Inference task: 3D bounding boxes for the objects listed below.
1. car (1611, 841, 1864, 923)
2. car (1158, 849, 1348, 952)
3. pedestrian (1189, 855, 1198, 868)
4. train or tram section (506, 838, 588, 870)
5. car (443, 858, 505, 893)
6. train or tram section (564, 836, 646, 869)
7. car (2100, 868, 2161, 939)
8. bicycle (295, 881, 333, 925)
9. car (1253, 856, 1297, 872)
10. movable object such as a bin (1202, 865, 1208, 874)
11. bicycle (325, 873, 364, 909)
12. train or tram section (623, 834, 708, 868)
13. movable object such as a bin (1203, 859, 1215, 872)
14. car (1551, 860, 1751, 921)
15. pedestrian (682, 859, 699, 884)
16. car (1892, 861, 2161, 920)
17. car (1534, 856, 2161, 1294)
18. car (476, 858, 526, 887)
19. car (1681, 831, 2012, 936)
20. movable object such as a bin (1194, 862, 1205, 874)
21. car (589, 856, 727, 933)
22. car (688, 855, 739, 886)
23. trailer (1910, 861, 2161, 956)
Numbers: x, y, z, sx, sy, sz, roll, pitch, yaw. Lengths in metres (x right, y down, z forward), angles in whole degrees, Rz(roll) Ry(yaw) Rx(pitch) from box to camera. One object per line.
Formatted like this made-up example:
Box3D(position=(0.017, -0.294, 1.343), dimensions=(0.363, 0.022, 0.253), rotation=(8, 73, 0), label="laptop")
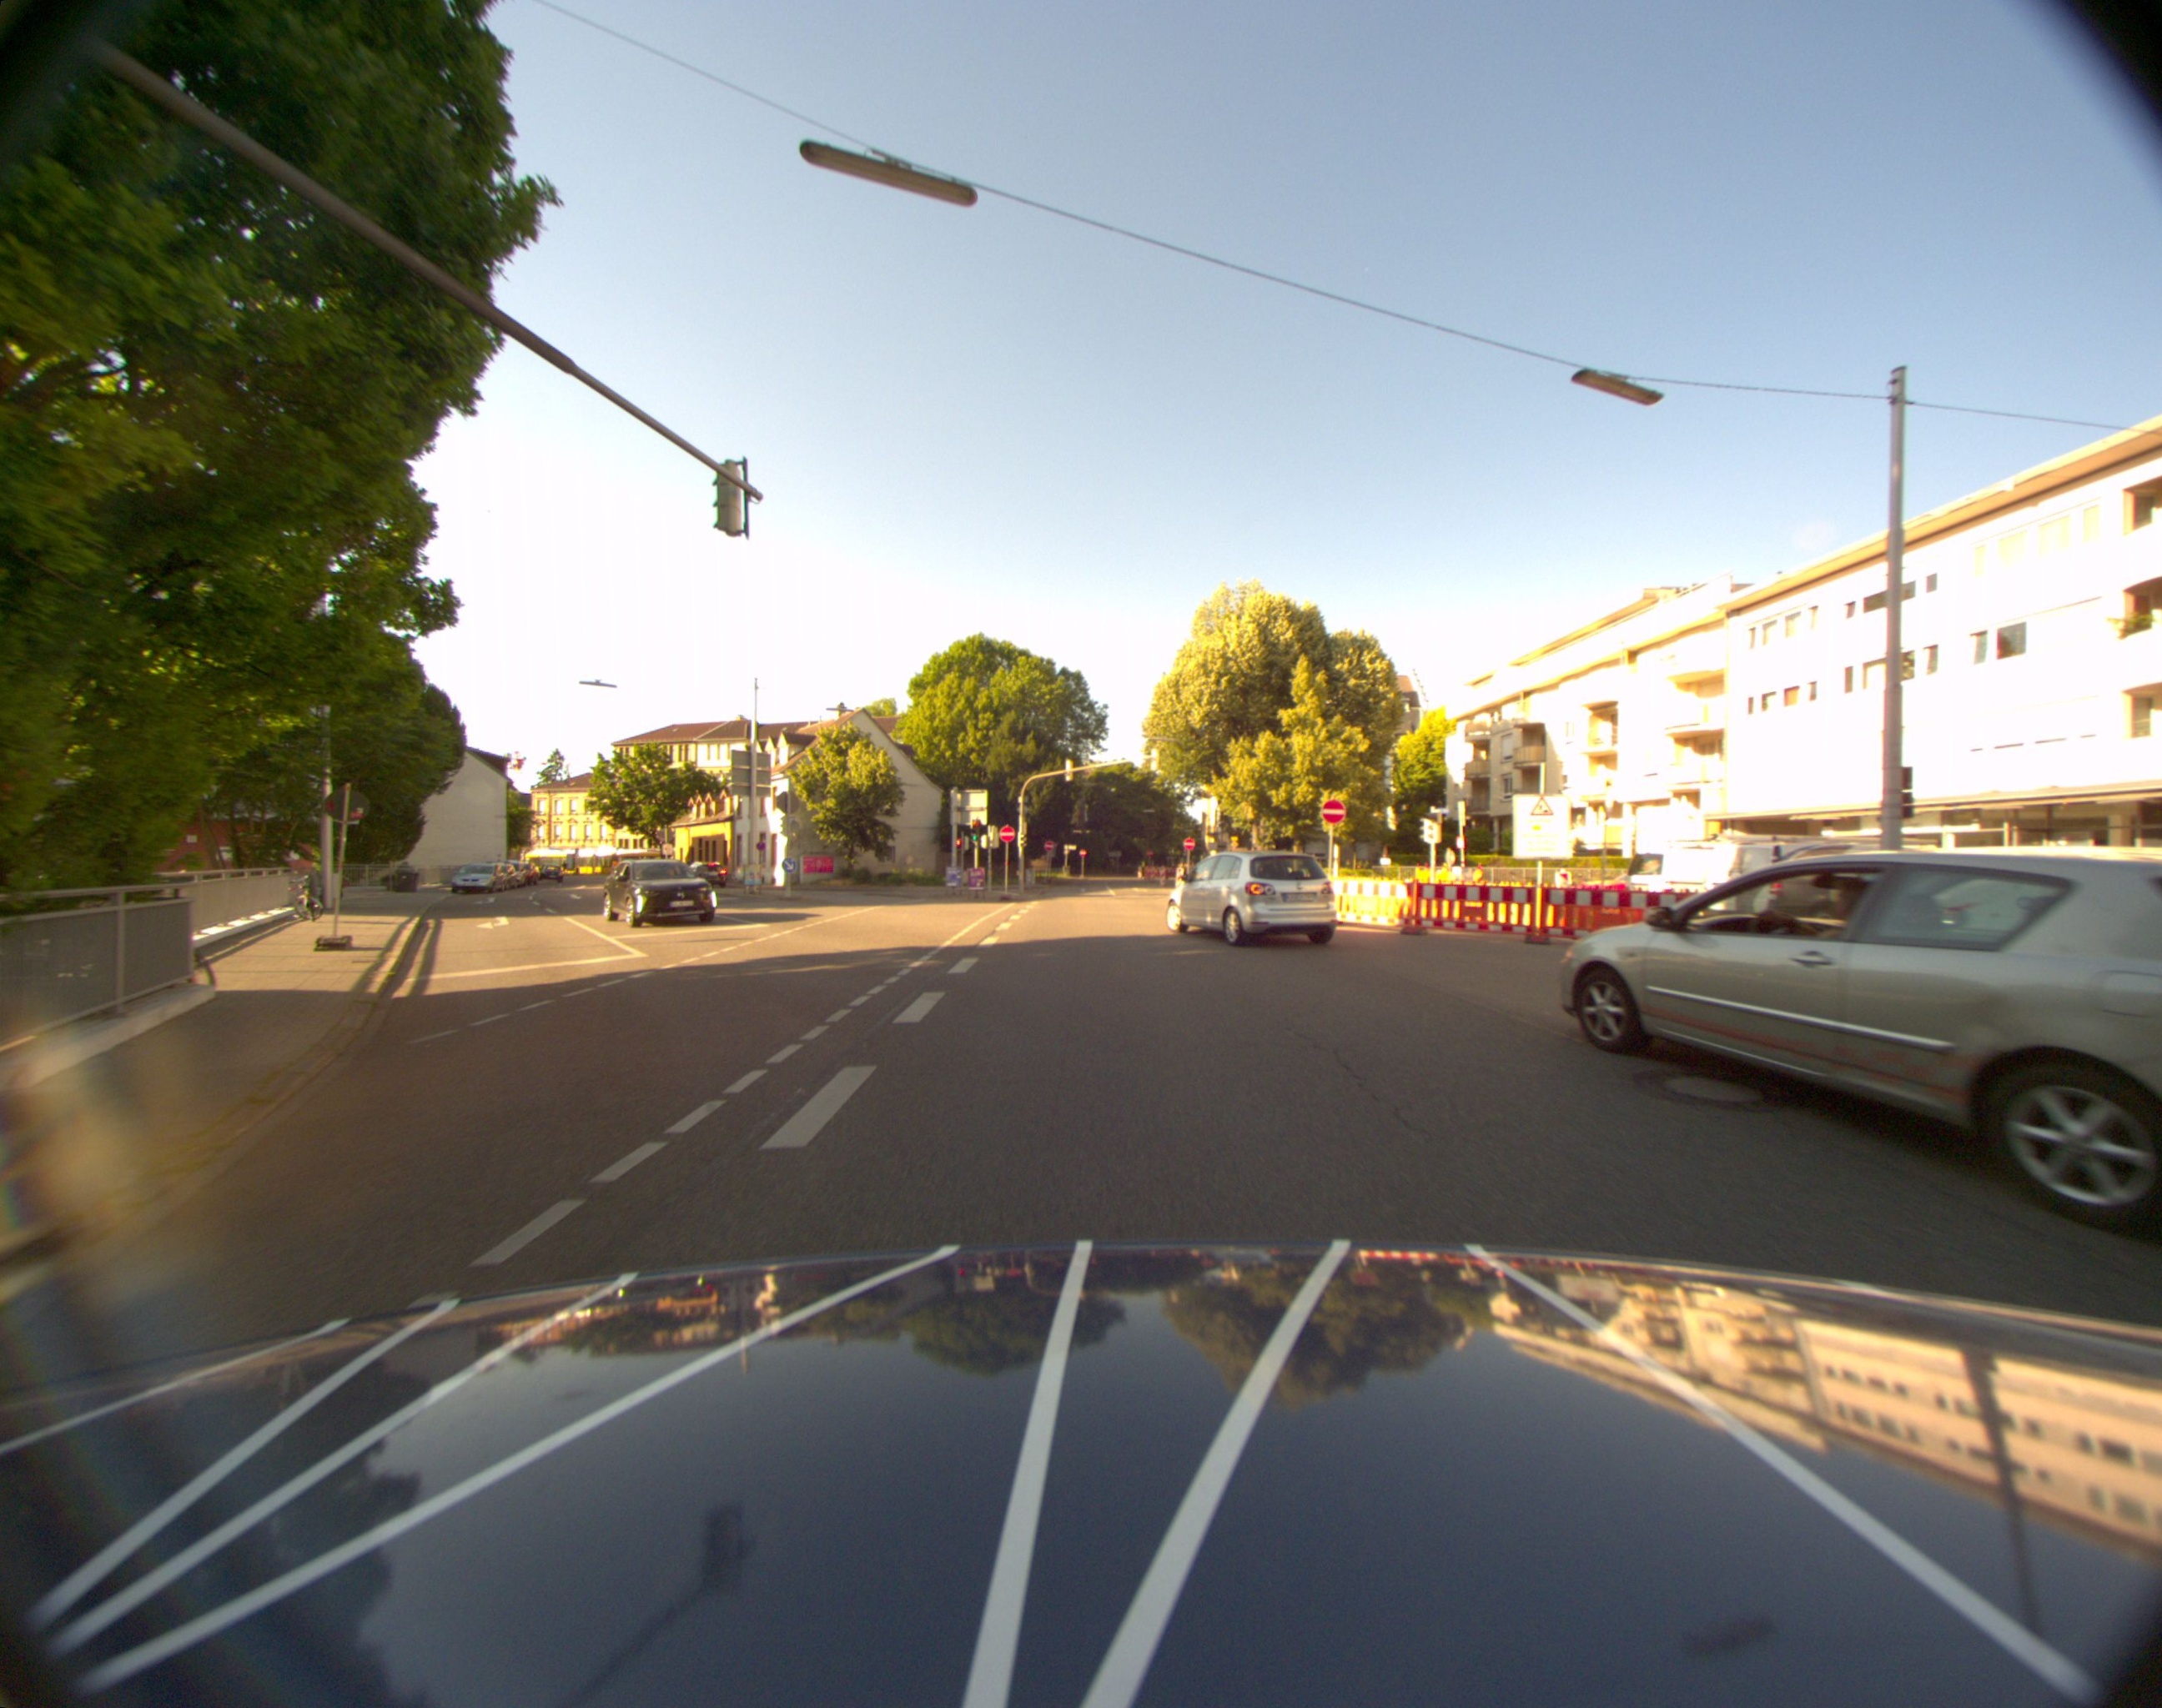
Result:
Box3D(position=(15.909, 0.668, 18.648), dimensions=(4.322, 1.841, 2.001), rotation=(-1, 0, 5), label="car")
Box3D(position=(2.875, 0.739, 13.668), dimensions=(1.782, 1.533, 3.996), rotation=(-1, -1, -12), label="car")
Box3D(position=(13.705, 0.933, 92.489), dimensions=(0.823, 1.594, 0.917), rotation=(-1, 0, -4), label="pedestrian")
Box3D(position=(-63.760, 0.067, 90.738), dimensions=(9.843, 3.580, 2.853), rotation=(-1, 0, 20), label="train or tram section")
Box3D(position=(-32.873, 1.158, 41.257), dimensions=(2.003, 1.770, 4.219), rotation=(-1, -1, -30), label="car")
Box3D(position=(-54.874, -0.153, 87.583), dimensions=(9.248, 3.498, 2.802), rotation=(-1, 0, 19), label="train or tram section")
Box3D(position=(23.917, 0.970, 15.106), dimensions=(4.323, 1.390, 2.001), rotation=(-1, -1, 5), label="car")
Box3D(position=(-19.795, 1.242, 19.590), dimensions=(1.918, 1.062, 0.617), rotation=(-2, -1, 43), label="bicycle")
Box3D(position=(19.096, 0.996, 74.919), dimensions=(3.995, 1.543, 2.001), rotation=(0, 0, 4), label="car")
Box3D(position=(14.684, 1.852, 89.737), dimensions=(0.637, 1.035, 0.764), rotation=(-1, 0, 4), label="movable object such as a bin")
Box3D(position=(-24.812, 1.229, 25.570), dimensions=(2.328, 1.171, 0.713), rotation=(-2, -1, 41), label="bicycle")
Box3D(position=(-46.272, -0.316, 84.575), dimensions=(9.247, 3.498, 2.802), rotation=(-1, 0, 20), label="train or tram section")
Box3D(position=(14.416, 1.332, 85.752), dimensions=(1.085, 1.422, 1.346), rotation=(-1, 0, -1), label="movable object such as a bin")
Box3D(position=(15.659, 0.988, 21.051), dimensions=(4.000, 1.470, 2.000), rotation=(-2, -1, 1), label="car")
Box3D(position=(-29.086, 1.292, 56.600), dimensions=(0.959, 1.827, 1.286), rotation=(-1, 0, -34), label="pedestrian")
Box3D(position=(24.449, 0.929, 19.793), dimensions=(4.323, 1.390, 2.001), rotation=(-1, -1, 5), label="car")
Box3D(position=(4.548, 0.765, 4.053), dimensions=(1.780, 1.471, 4.096), rotation=(-1, -1, -1), label="car")
Box3D(position=(-37.323, 1.184, 49.027), dimensions=(2.003, 1.770, 4.219), rotation=(-1, -1, -30), label="car")
Box3D(position=(15.638, 0.581, 15.759), dimensions=(4.679, 1.953, 2.117), rotation=(-1, 0, 0), label="car")
Box3D(position=(14.720, 1.761, 94.596), dimensions=(1.083, 1.422, 1.409), rotation=(-1, 0, 20), label="movable object such as a bin")
Box3D(position=(-10.960, 0.934, 19.527), dimensions=(2.003, 1.661, 4.651), rotation=(-4, 2, -43), label="car")
Box3D(position=(-23.565, 1.059, 48.649), dimensions=(2.005, 1.804, 4.240), rotation=(4, -3, -38), label="car")
Box3D(position=(15.832, 0.830, 12.217), dimensions=(3.262, 1.388, 1.574), rotation=(-1, 0, 0), label="trailer")
